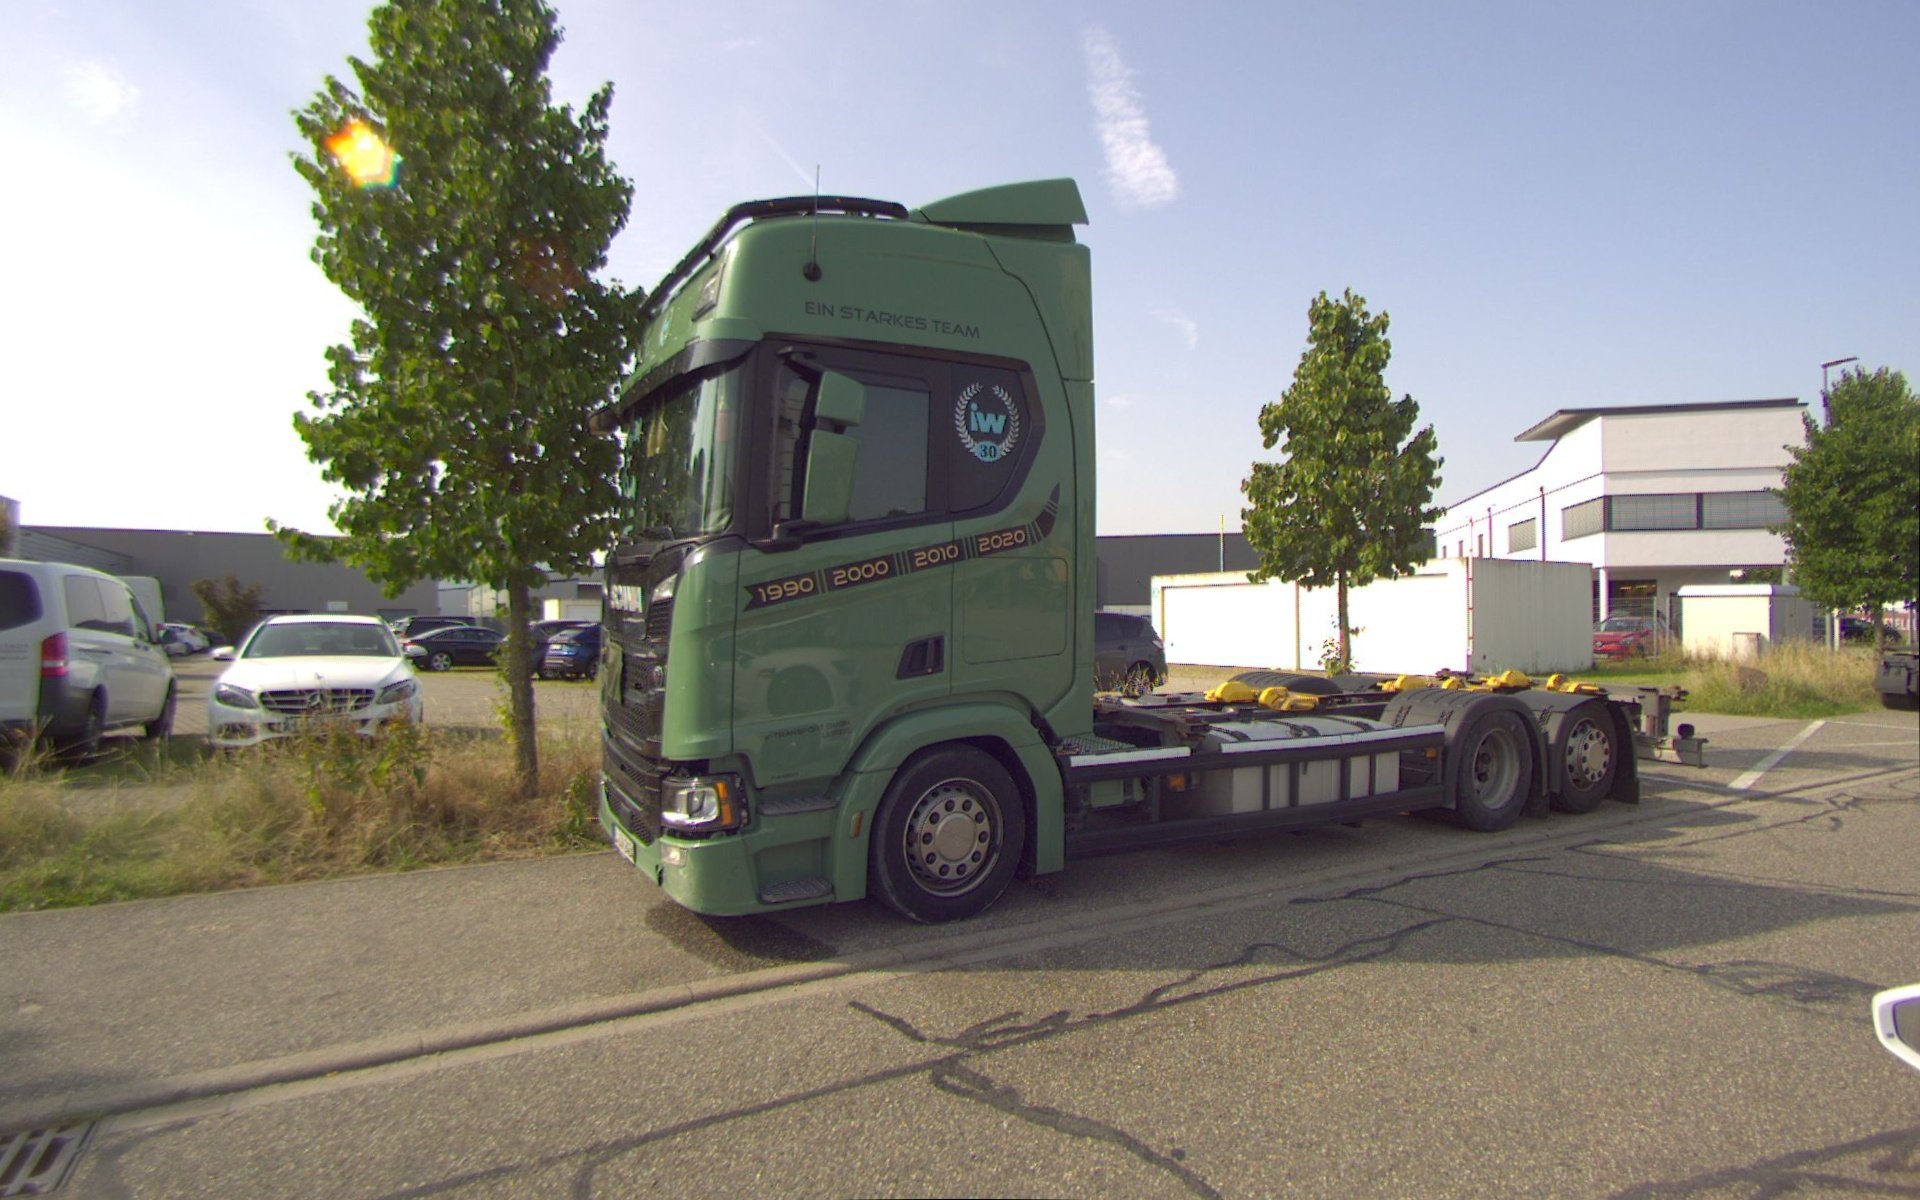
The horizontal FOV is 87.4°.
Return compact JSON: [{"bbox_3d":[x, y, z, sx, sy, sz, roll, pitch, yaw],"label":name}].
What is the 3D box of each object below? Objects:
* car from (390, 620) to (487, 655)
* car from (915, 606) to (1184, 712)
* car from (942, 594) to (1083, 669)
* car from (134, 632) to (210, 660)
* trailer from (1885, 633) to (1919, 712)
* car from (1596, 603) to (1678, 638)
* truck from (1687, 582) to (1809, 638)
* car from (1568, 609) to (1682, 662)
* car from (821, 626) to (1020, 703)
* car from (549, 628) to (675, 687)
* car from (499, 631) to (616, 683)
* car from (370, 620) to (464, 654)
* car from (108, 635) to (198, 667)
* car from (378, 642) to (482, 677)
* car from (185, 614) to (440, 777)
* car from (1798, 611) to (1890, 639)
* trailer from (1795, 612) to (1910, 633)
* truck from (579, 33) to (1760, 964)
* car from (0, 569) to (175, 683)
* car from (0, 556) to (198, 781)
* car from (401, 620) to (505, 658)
[{"bbox_3d":[-25.216,1.826,48.703,4.099,1.634,1.834,1,-2,-27],"label":"car"},{"bbox_3d":[1.686,0.993,18.338,4.647,1.709,1.983,0,-2,-32],"label":"car"},{"bbox_3d":[2.014,1.183,37.388,5.419,2.580,2.033,2,-2,-42],"label":"car"},{"bbox_3d":[-36.005,2.071,45.945,2.691,1.246,1.078,1,-2,-40],"label":"car"},{"bbox_3d":[19.018,1.197,17.635,7.072,1.249,2.120,0,1,-30],"label":"trailer"},{"bbox_3d":[30.717,0.912,45.696,1.831,1.507,4.002,0,-1,15],"label":"car"},{"bbox_3d":[60.239,0.841,77.310,2.582,3.981,12.925,0,-1,15],"label":"truck"},{"bbox_3d":[21.798,1.125,32.871,4.262,1.545,1.758,-1,0,-36],"label":"car"},{"bbox_3d":[-0.842,1.379,22.429,4.167,1.536,1.696,1,-2,-32],"label":"car"},{"bbox_3d":[-8.862,1.422,25.687,1.174,1.407,2.845,-1,-2,42],"label":"car"},{"bbox_3d":[-10.850,1.508,27.183,1.174,1.331,2.699,-1,-2,42],"label":"car"},{"bbox_3d":[-27.321,1.866,50.679,4.099,1.634,1.834,1,-2,-27],"label":"car"},{"bbox_3d":[-31.446,1.970,39.170,2.691,1.192,1.078,1,-2,-40],"label":"car"},{"bbox_3d":[-16.277,1.813,30.892,2.691,1.007,1.078,1,-2,-40],"label":"car"},{"bbox_3d":[-7.106,0.892,11.527,1.974,1.450,4.709,0,-1,-27],"label":"car"},{"bbox_3d":[48.052,1.357,54.656,3.433,1.473,1.598,1,-1,12],"label":"car"},{"bbox_3d":[69.681,1.738,78.767,2.579,1.406,9.460,-3,-2,14],"label":"trailer"},{"bbox_3d":[2.390,-0.351,7.732,9.685,3.933,2.444,1,0,-30],"label":"truck"},{"bbox_3d":[-23.407,0.652,25.145,1.686,2.730,5.720,-1,-2,42],"label":"car"},{"bbox_3d":[-9.527,0.610,10.137,2.076,1.860,4.688,0,-1,-27],"label":"car"},{"bbox_3d":[-22.852,1.765,45.403,4.099,1.634,1.834,1,-2,-27],"label":"car"}]
